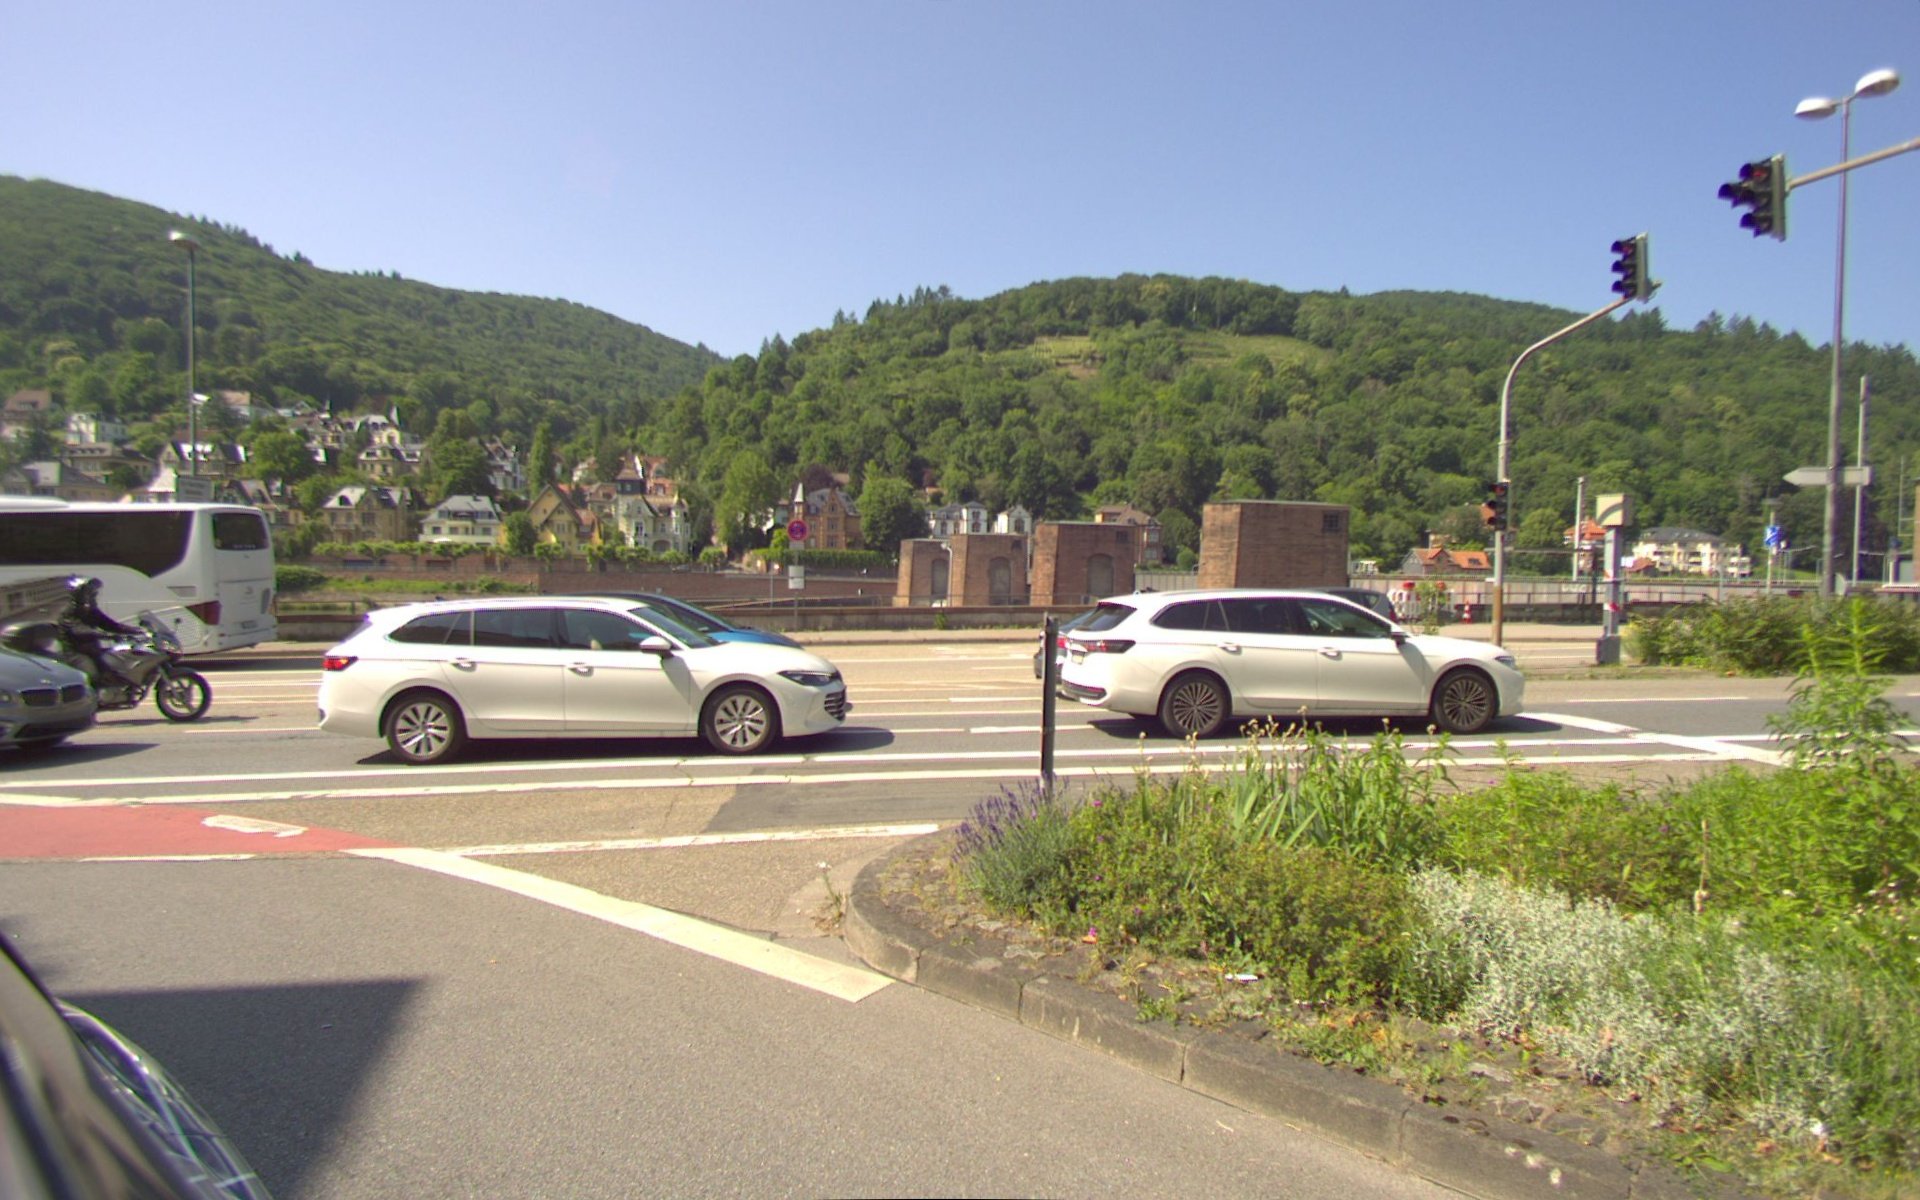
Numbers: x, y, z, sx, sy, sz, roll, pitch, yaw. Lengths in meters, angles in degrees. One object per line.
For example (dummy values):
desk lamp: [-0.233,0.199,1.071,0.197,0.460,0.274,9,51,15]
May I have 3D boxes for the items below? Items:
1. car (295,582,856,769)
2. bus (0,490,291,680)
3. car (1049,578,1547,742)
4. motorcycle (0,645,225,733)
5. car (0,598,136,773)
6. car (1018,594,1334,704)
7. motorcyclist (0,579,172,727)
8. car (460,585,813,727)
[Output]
car: [-3.468,0.653,9.969,4.785,1.545,2.002,-1,0,-4]
bus: [-22.186,-0.324,21.650,13.034,3.828,2.972,-1,4,-8]
car: [3.424,0.568,10.753,4.664,1.544,1.793,0,0,-5]
motorcycle: [-10.565,1.060,12.227,2.566,0.926,1.042,-1,0,-3]
car: [-10.691,0.774,9.544,4.242,1.532,1.896,0,1,-3]
car: [2.930,0.636,14.270,3.939,1.369,1.875,-1,0,-5]
motorcyclist: [-10.534,0.611,12.254,1.139,1.697,1.080,-1,0,-3]
car: [-3.902,0.643,12.803,3.939,1.574,1.875,-1,0,-5]
